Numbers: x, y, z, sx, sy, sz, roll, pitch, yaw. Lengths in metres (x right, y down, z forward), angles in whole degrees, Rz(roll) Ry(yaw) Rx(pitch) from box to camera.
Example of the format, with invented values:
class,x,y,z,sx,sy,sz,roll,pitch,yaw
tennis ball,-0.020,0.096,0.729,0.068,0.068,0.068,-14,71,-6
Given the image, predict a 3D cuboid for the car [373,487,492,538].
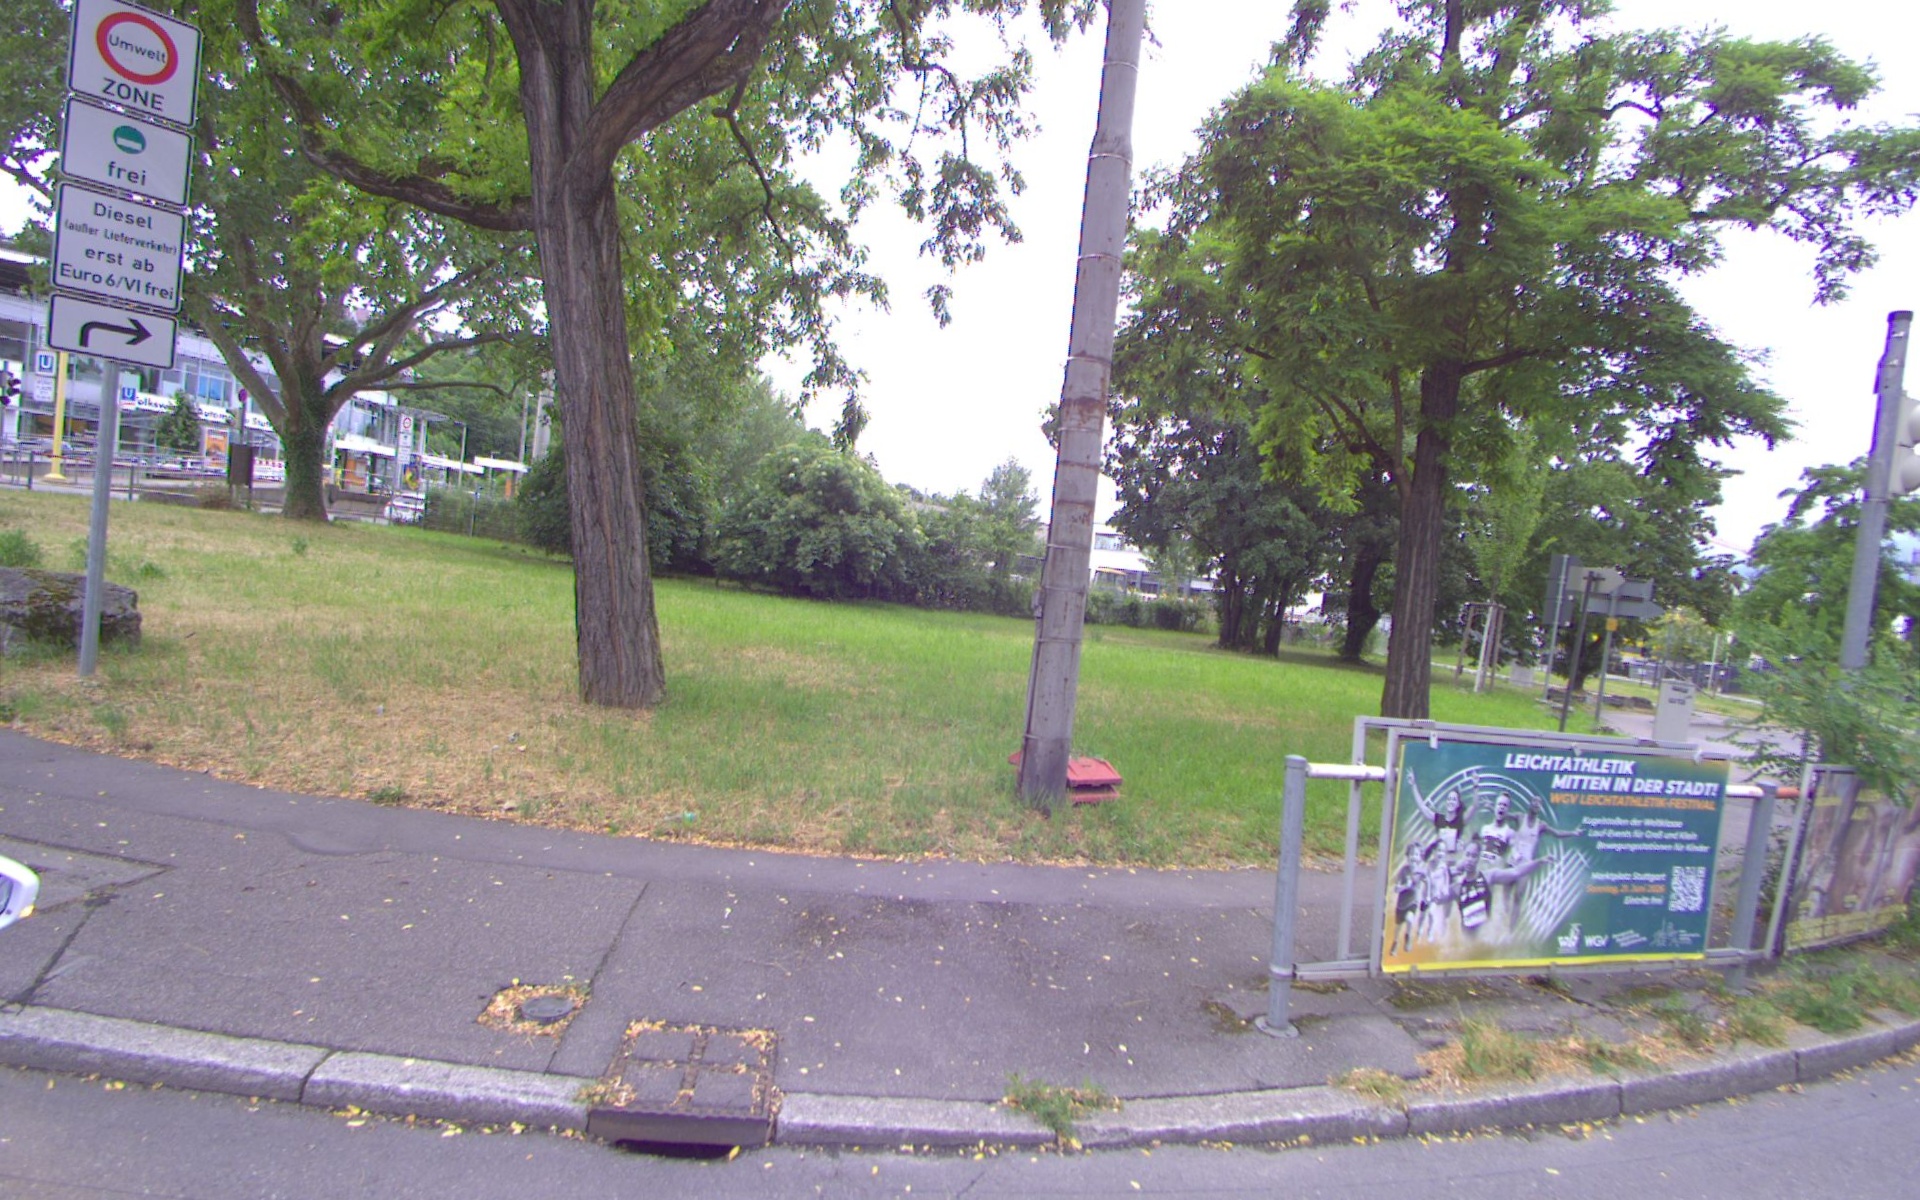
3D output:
class,x,y,z,sx,sy,sz,roll,pitch,yaw
car,-21.792,-3.582,41.835,1.770,1.527,4.894,9,2,7
